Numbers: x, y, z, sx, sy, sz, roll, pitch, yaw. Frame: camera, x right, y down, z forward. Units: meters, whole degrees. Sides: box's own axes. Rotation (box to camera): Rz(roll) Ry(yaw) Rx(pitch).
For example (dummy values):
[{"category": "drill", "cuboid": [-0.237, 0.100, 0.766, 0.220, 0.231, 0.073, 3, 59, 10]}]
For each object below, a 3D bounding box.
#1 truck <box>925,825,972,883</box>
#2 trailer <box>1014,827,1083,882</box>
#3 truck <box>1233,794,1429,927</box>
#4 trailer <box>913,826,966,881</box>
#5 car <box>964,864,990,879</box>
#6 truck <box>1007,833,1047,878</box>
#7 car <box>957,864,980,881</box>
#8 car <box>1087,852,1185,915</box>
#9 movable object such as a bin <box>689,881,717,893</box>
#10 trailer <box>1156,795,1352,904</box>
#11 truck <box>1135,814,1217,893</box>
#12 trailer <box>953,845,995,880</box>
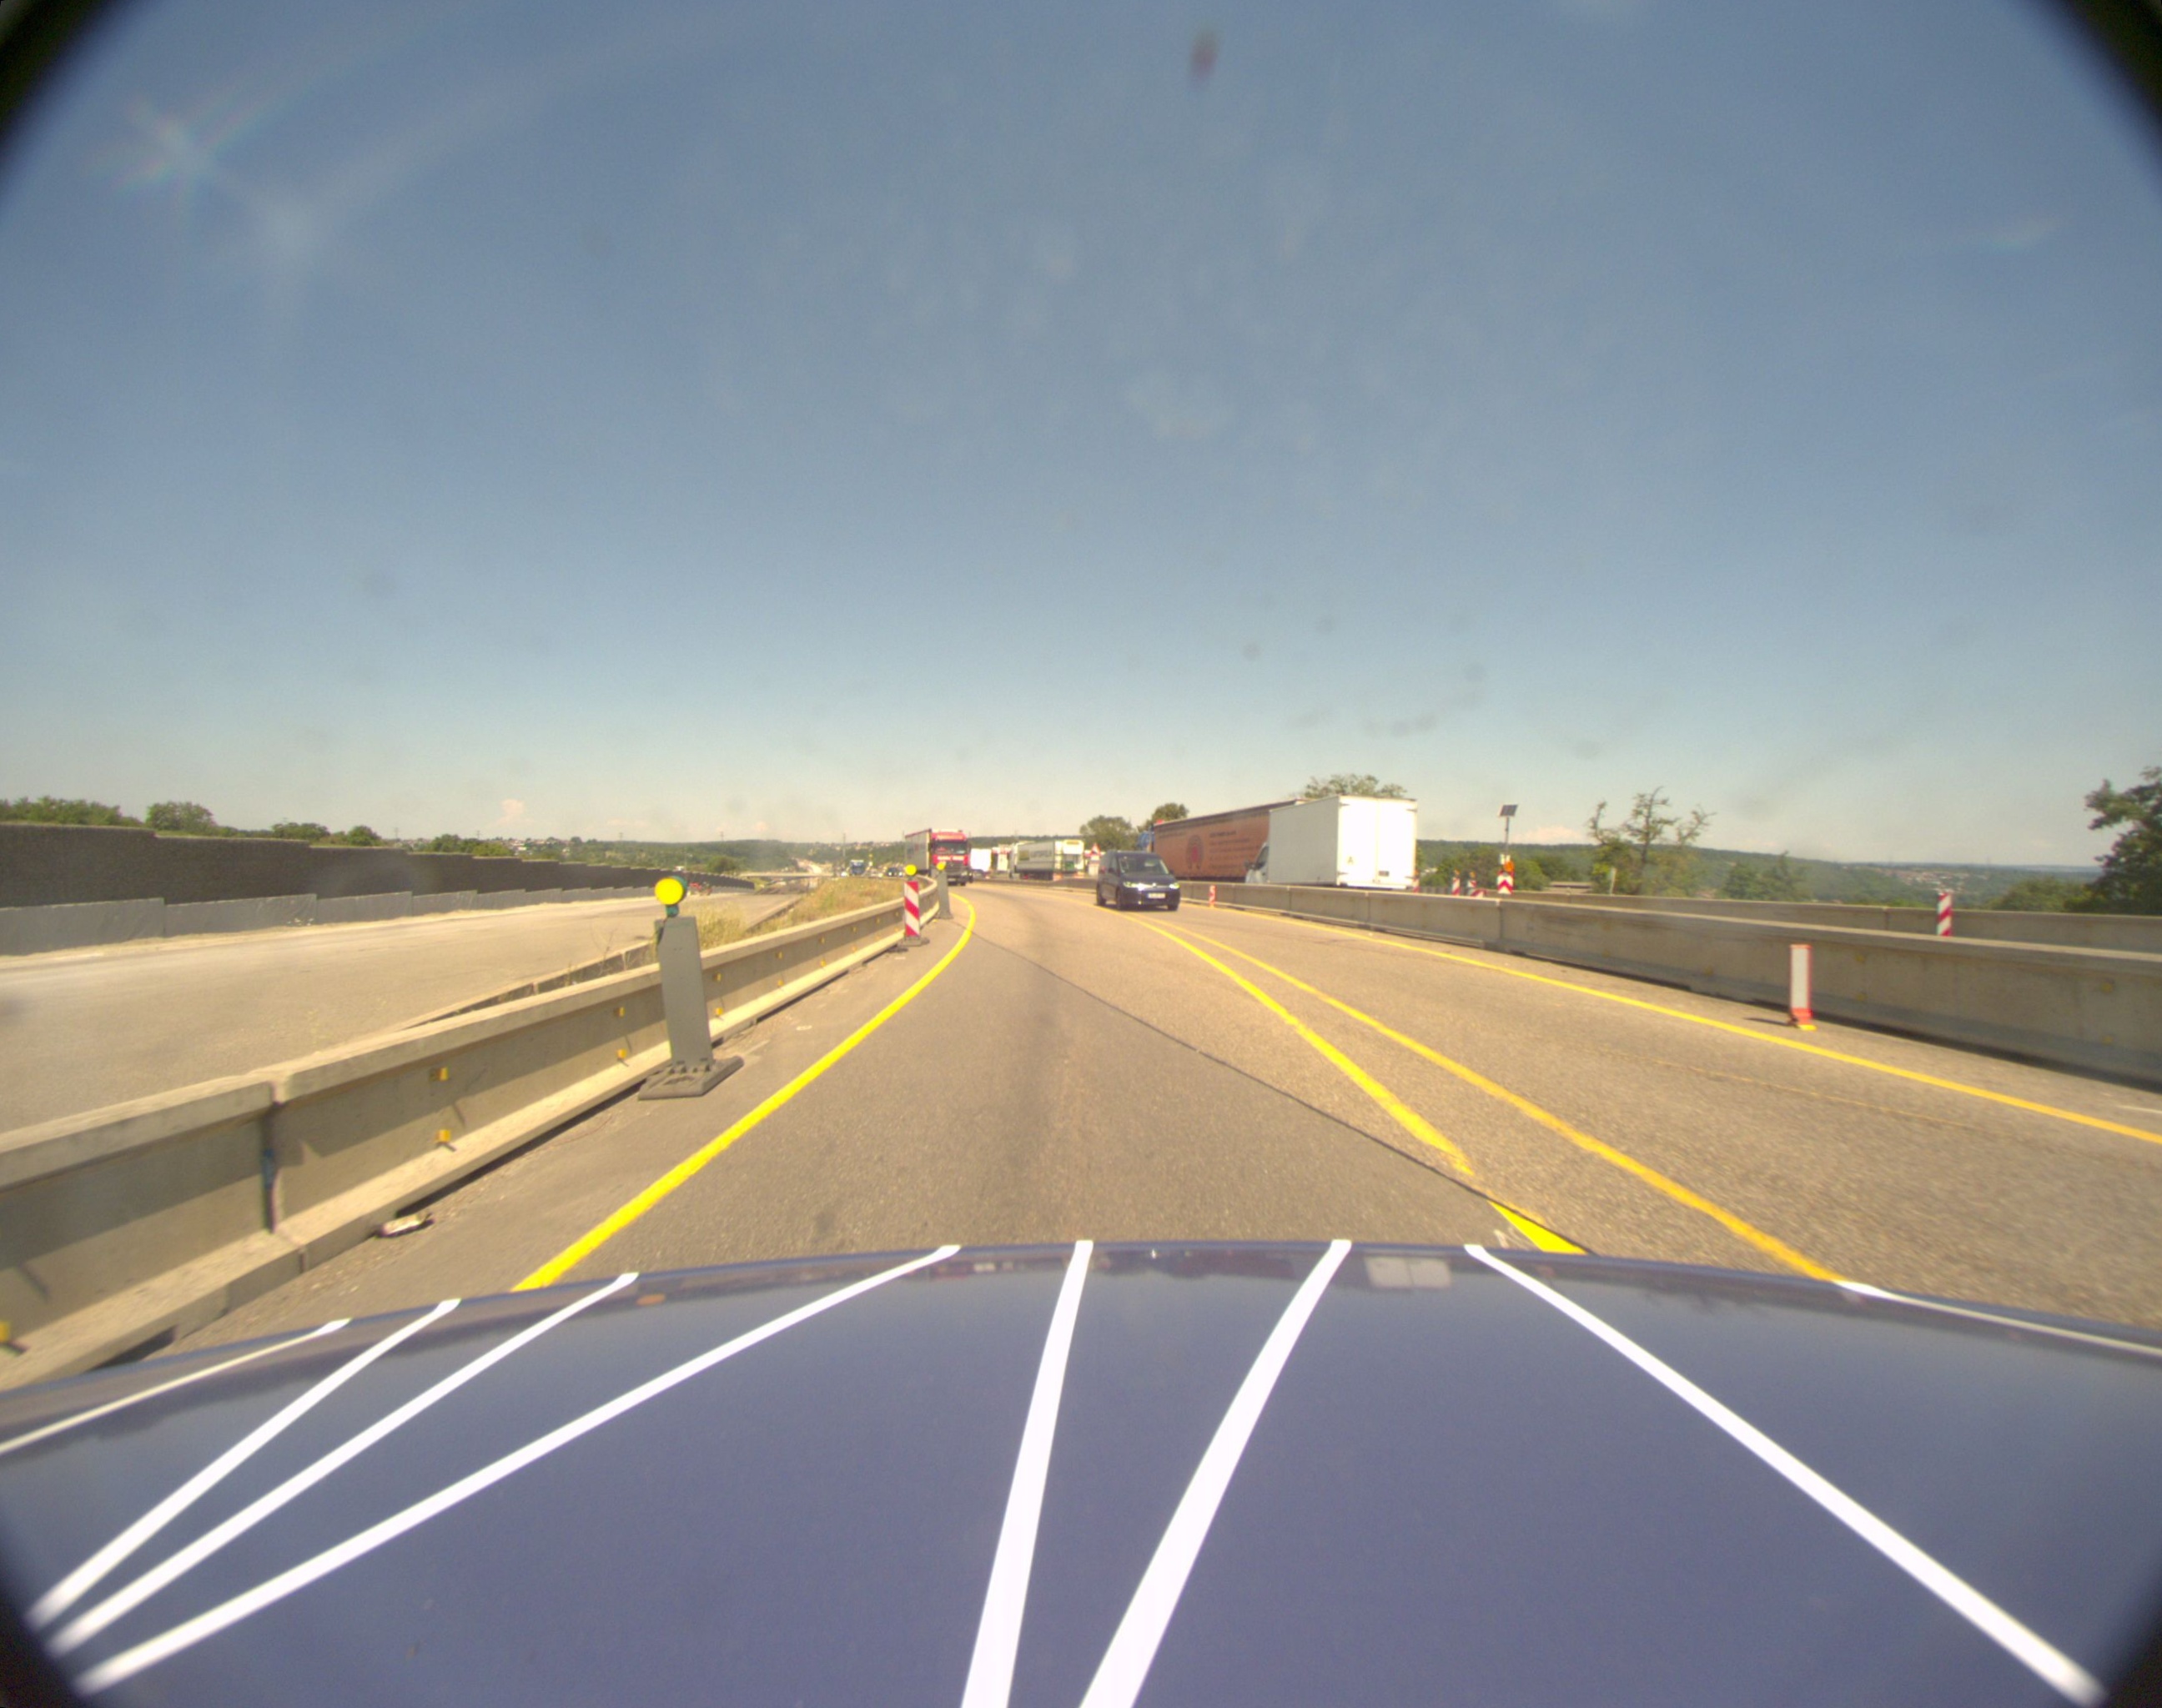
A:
[{"category": "truck", "cuboid": [-9.409, 0.026, 53.643, 2.631, 3.880, 4.926, 0, 0, -17]}, {"category": "trailer", "cuboid": [-2.960, 0.109, 64.033, 2.363, 4.127, 12.478, 0, -1, -19]}, {"category": "truck", "cuboid": [7.109, 0.201, 22.841, 2.588, 3.361, 6.922, 0, 0, -10]}, {"category": "trailer", "cuboid": [-11.296, 0.060, 59.636, 2.705, 3.851, 12.405, 0, -1, -17]}, {"category": "car", "cuboid": [-10.509, 1.724, 76.601, 1.761, 1.469, 4.529, 0, -1, -20]}, {"category": "truck", "cuboid": [-5.042, 0.148, 70.176, 2.458, 3.984, 5.069, 0, 0, -18]}, {"category": "car", "cuboid": [-9.928, 1.631, 66.877, 1.429, 1.476, 3.409, 0, -1, -19]}, {"category": "car", "cuboid": [1.608, 0.853, 24.007, 1.928, 1.779, 4.598, 0, 0, -12]}, {"category": "movable object such as a bin", "cuboid": [-67.948, 5.925, 136.705, 1.758, 2.135, 4.143, 0, -1, 44]}, {"category": "trailer", "cuboid": [7.264, -0.096, 35.256, 2.597, 4.127, 13.045, 0, -1, -18]}, {"category": "truck", "cuboid": [5.126, -0.013, 41.953, 2.554, 4.056, 5.538, 0, 0, -16]}, {"category": "trailer", "cuboid": [-13.782, 1.126, 96.419, 2.827, 4.069, 13.103, 0, -1, -19]}]
